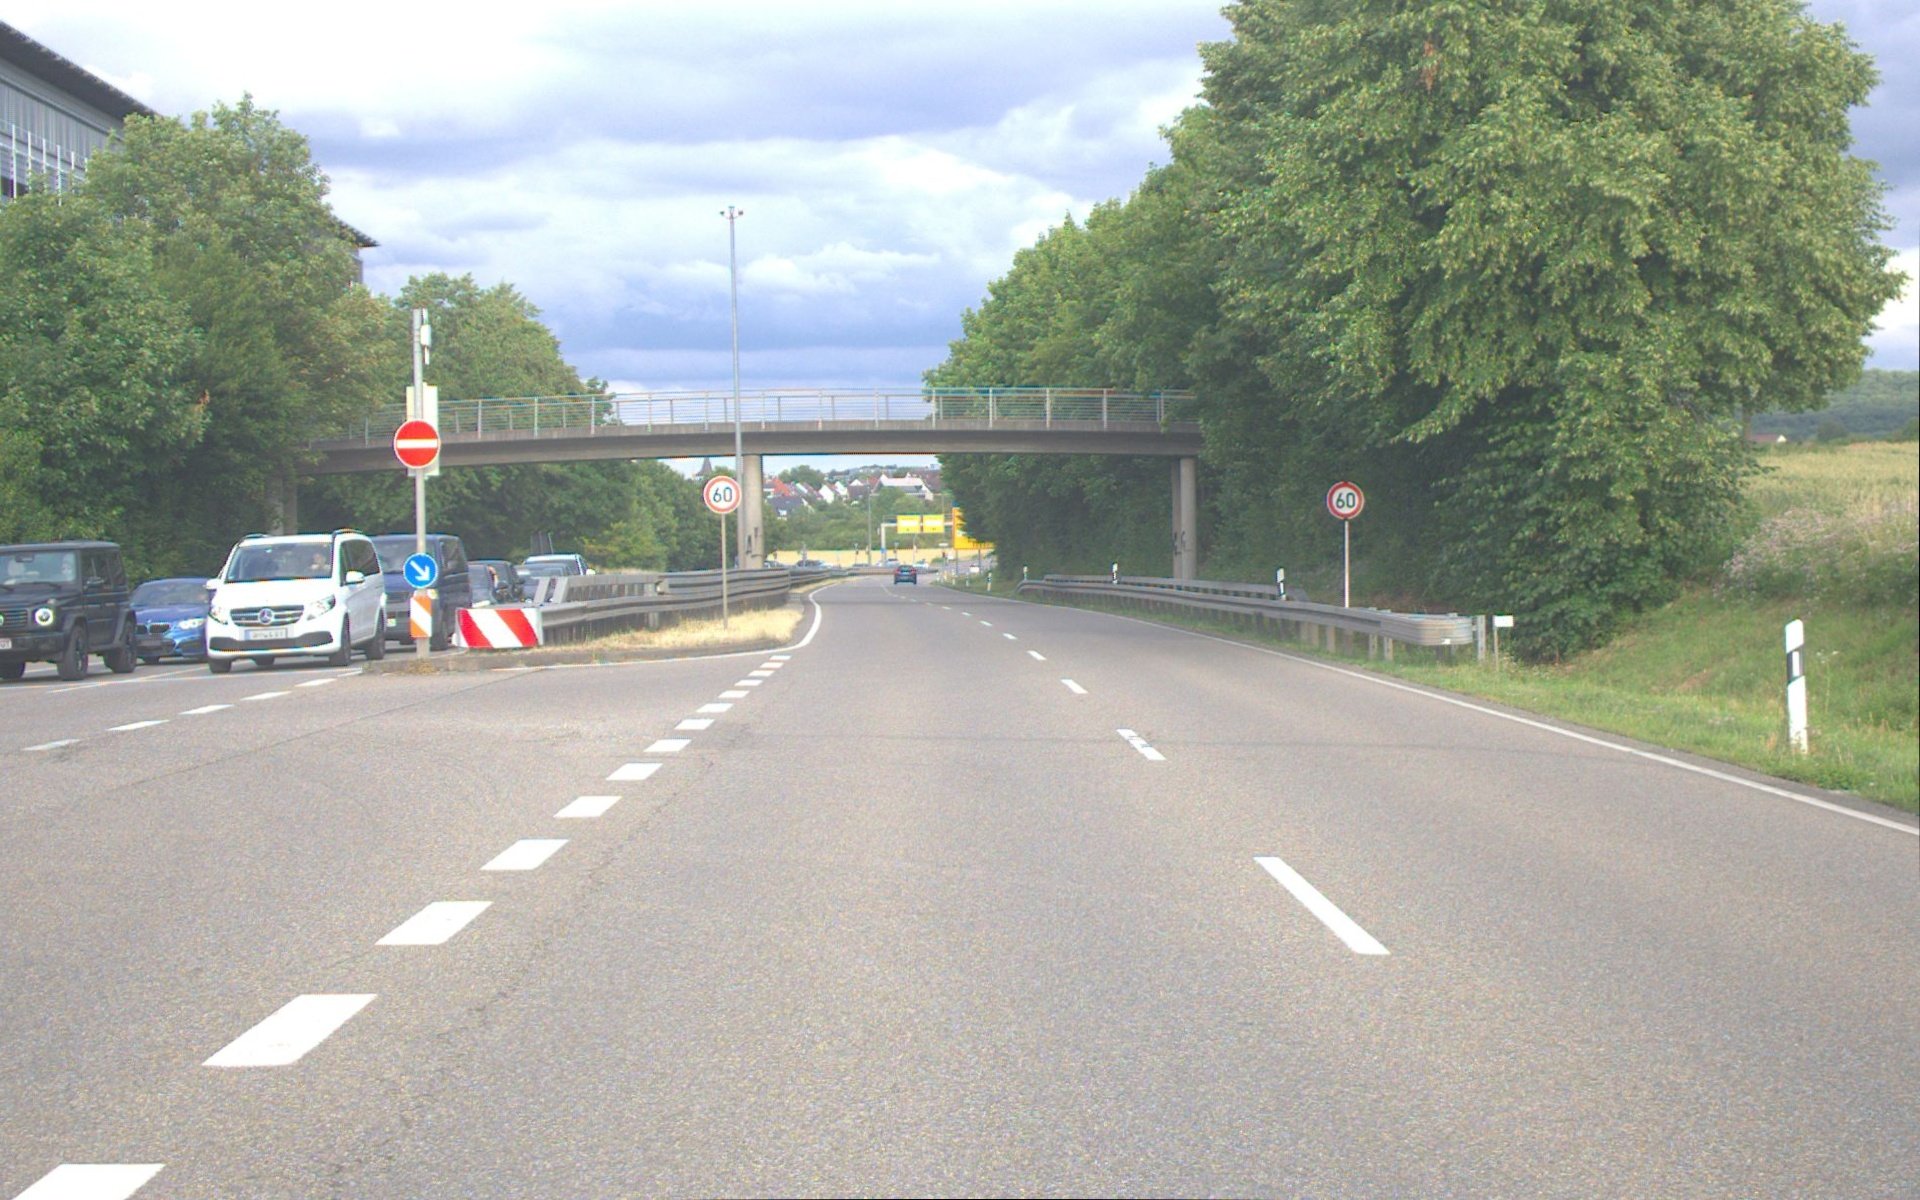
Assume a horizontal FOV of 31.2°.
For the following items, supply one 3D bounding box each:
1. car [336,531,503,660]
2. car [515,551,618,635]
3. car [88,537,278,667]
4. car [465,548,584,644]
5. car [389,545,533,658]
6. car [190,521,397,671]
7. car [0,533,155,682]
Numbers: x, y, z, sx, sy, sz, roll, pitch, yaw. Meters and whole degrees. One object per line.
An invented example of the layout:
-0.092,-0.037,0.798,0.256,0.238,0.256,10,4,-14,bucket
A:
-8.904,-0.094,57.082,2.083,2.007,5.217,1,0,-2,car
-9.731,-0.195,85.447,2.083,2.007,5.217,1,0,-2,car
-12.748,0.009,56.737,2.083,2.007,5.217,1,0,-2,car
-9.539,-0.104,75.629,2.083,2.007,5.217,1,0,-2,car
-9.324,-0.002,64.650,2.083,2.007,5.217,1,0,-2,car
-9.483,-0.078,49.345,2.083,2.007,5.217,1,0,-2,car
-13.117,0.069,49.236,2.083,2.007,5.217,1,0,-2,car
